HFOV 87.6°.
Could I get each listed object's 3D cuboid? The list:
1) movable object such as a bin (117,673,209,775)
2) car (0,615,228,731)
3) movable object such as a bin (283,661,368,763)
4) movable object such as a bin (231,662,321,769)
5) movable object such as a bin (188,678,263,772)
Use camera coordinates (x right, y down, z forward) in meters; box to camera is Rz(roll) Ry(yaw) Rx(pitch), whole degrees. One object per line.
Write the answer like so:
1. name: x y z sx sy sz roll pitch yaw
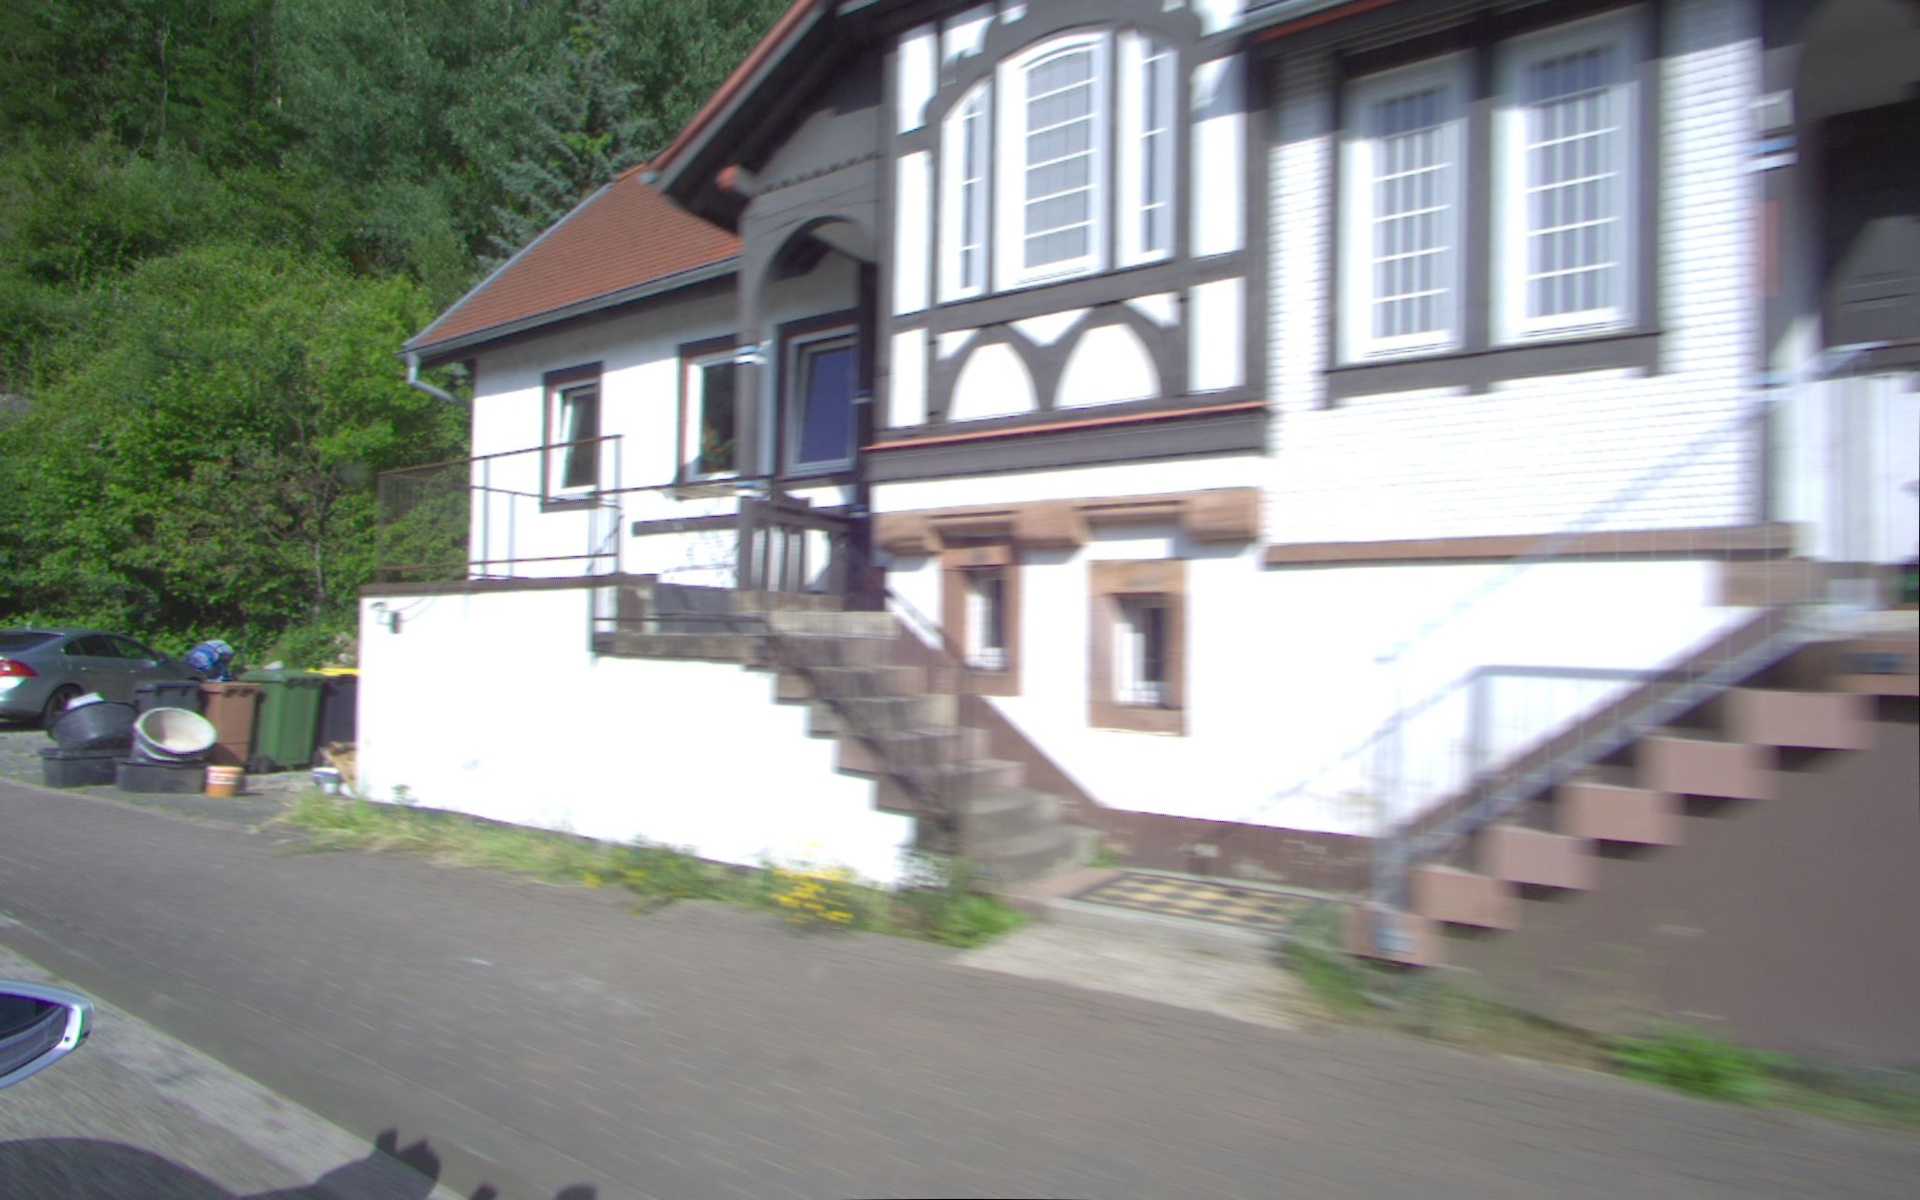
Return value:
1. movable object such as a bin: -7.884 1.210 9.911 0.642 0.948 0.471 0 -3 30
2. car: -13.560 1.032 15.325 1.802 1.488 4.328 -2 0 -6
3. movable object such as a bin: -7.103 1.237 11.218 0.741 1.075 0.477 0 -3 30
4. movable object such as a bin: -7.266 1.210 10.645 0.741 1.075 0.477 0 -3 30
5. movable object such as a bin: -7.537 1.270 10.276 0.538 0.911 0.368 0 -3 24
